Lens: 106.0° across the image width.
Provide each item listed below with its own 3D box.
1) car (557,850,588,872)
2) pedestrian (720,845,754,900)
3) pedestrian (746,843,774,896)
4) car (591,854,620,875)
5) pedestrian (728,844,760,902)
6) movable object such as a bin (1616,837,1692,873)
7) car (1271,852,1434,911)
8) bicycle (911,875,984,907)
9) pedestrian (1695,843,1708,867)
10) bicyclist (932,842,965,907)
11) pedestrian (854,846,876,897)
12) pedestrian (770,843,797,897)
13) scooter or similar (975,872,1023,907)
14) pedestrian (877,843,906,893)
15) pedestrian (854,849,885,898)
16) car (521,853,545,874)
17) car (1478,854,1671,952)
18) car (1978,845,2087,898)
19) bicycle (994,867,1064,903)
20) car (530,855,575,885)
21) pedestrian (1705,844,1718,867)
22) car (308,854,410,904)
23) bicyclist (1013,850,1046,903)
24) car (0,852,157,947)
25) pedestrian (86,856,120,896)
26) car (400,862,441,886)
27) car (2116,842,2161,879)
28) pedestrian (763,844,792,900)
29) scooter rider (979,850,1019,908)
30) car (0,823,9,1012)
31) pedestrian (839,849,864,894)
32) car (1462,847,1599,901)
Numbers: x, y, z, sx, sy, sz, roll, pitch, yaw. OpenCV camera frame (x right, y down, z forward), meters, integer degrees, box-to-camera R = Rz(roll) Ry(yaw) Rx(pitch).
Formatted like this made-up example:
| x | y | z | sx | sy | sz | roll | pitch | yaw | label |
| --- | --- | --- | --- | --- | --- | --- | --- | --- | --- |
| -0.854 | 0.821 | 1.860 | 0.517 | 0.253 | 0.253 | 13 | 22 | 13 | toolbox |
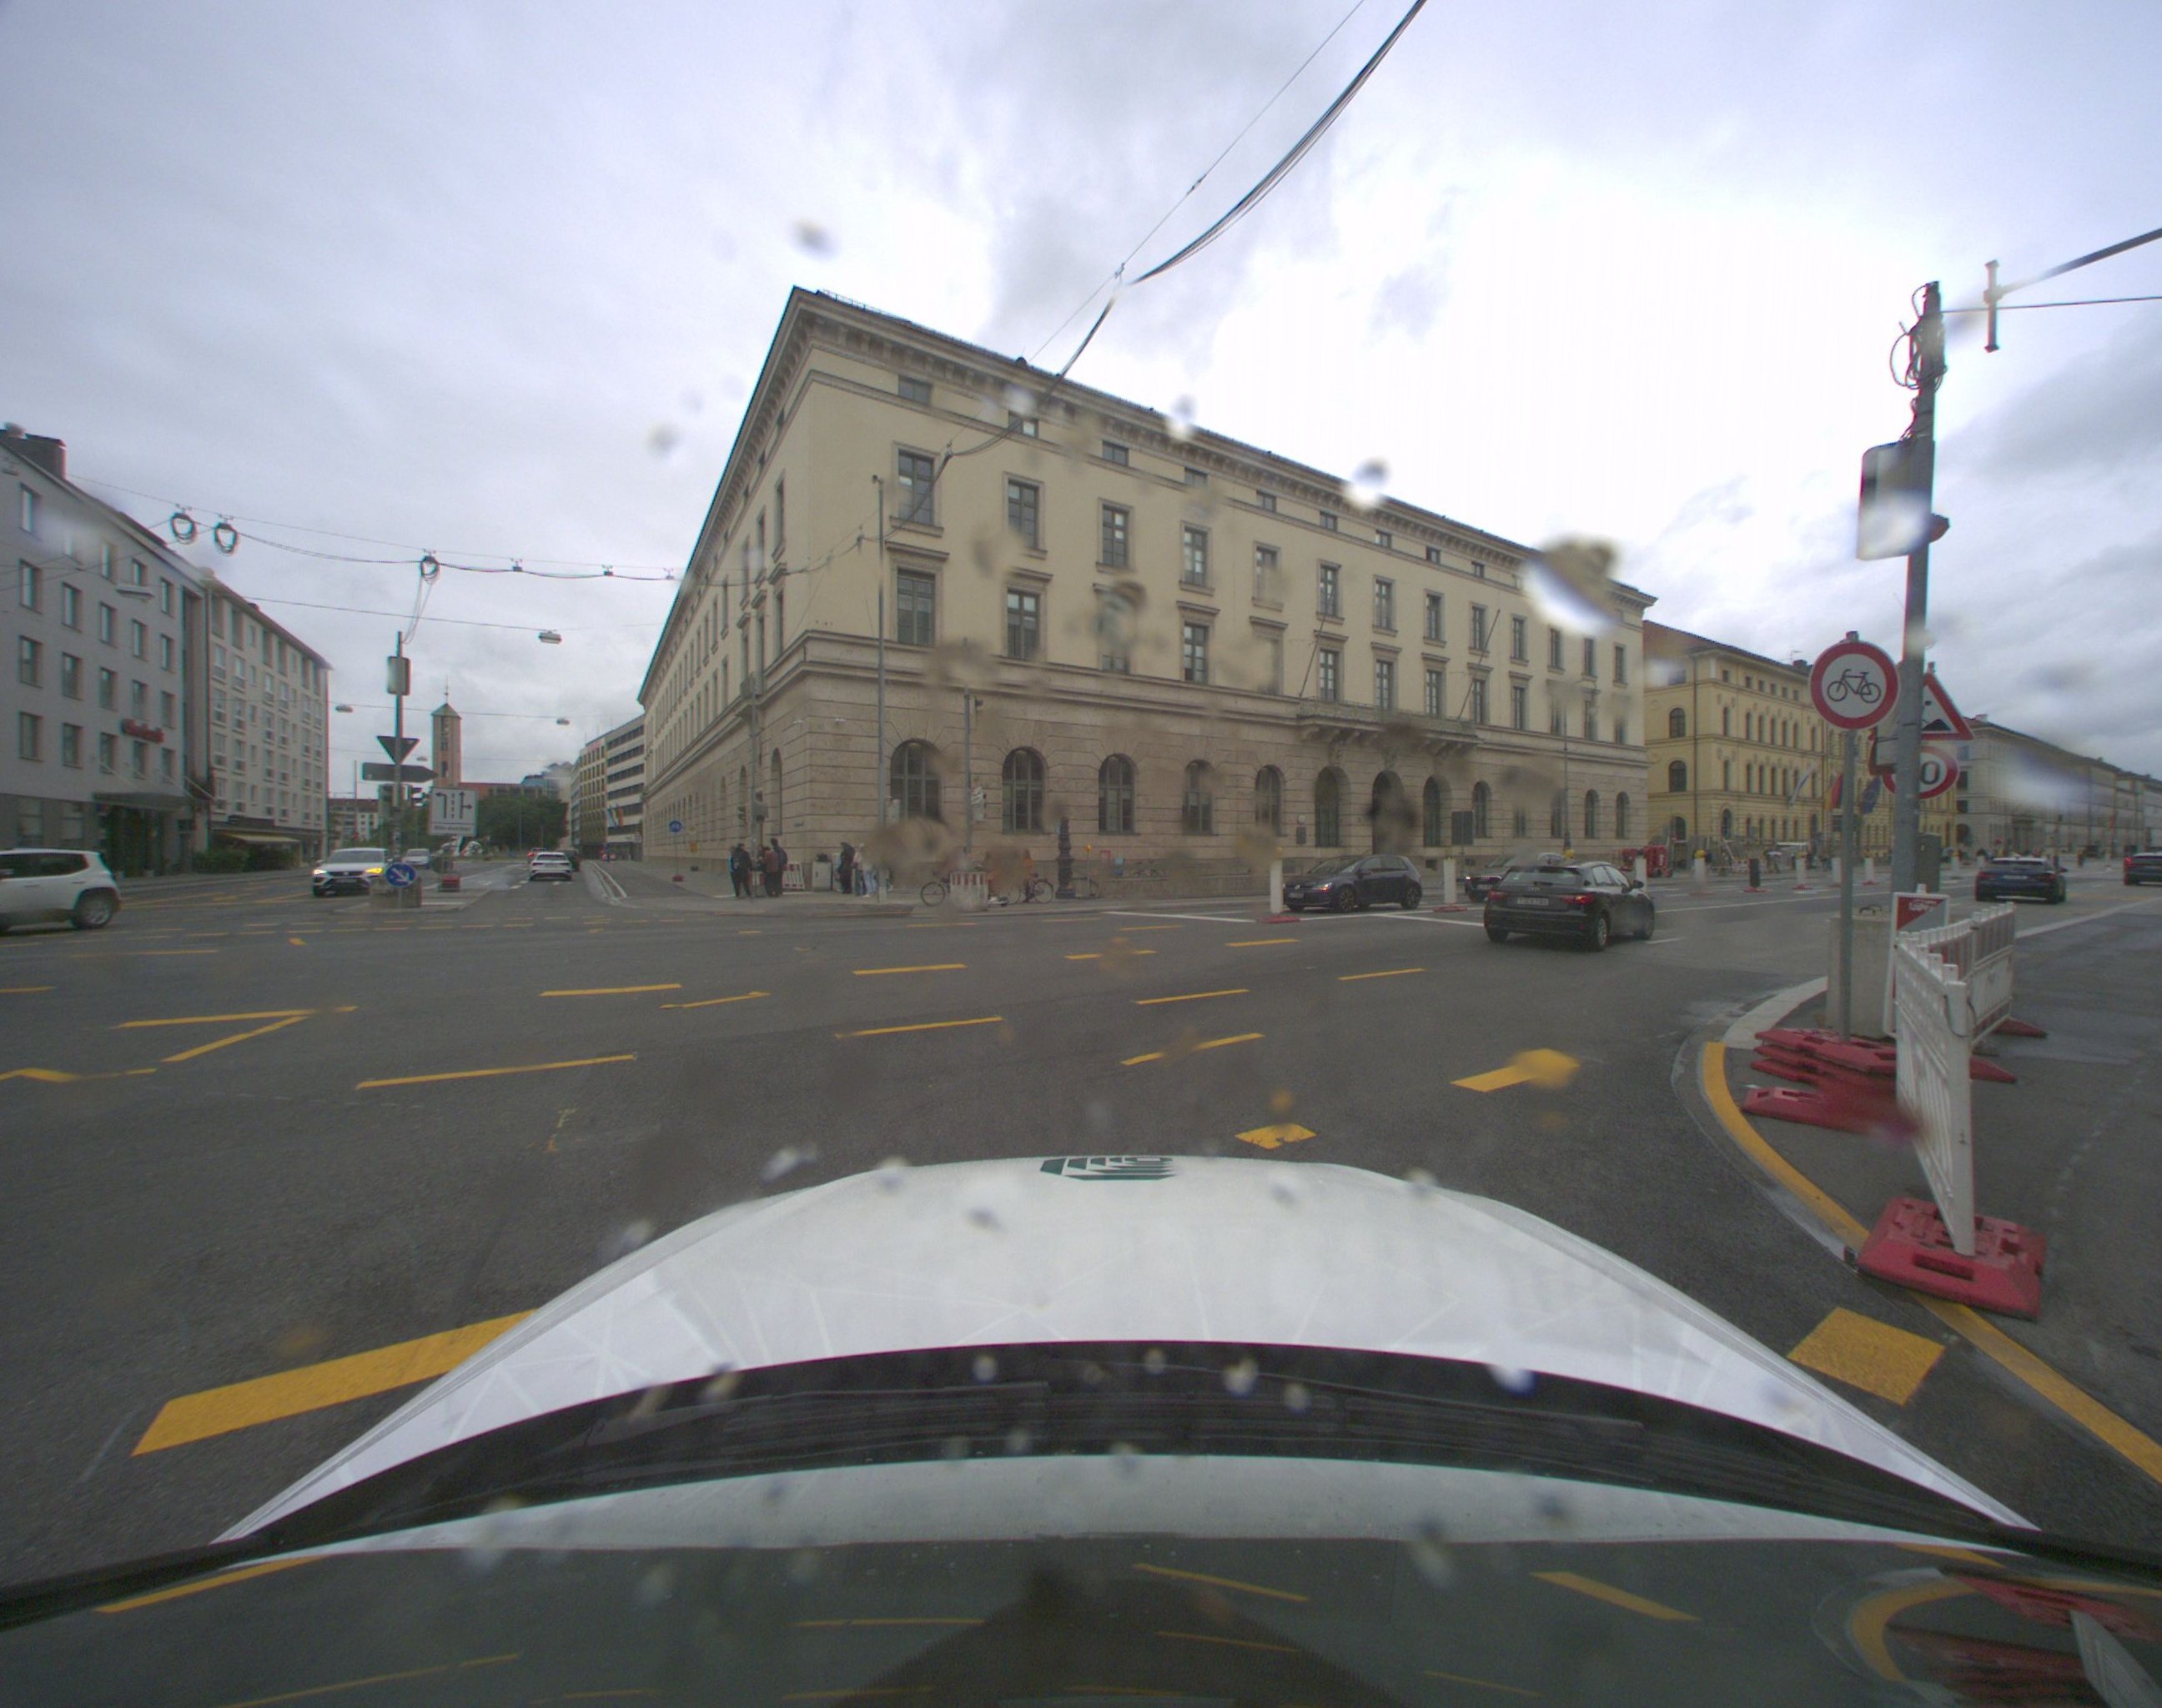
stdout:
| x | y | z | sx | sy | sz | roll | pitch | yaw | label |
| --- | --- | --- | --- | --- | --- | --- | --- | --- | --- |
| -37.064 | 0.482 | 59.354 | 1.878 | 1.601 | 3.811 | 0 | 0 | -33 | car |
| -11.274 | 0.604 | 26.707 | 0.578 | 1.755 | 0.825 | 1 | 0 | 27 | pedestrian |
| -10.862 | 0.524 | 27.600 | 0.819 | 1.755 | 0.582 | 1 | 0 | -18 | pedestrian |
| -38.434 | 0.805 | 65.768 | 1.878 | 1.601 | 3.811 | 0 | 0 | -33 | car |
| -10.511 | 0.589 | 25.445 | 0.819 | 1.755 | 0.676 | 1 | 0 | -16 | pedestrian |
| 34.435 | 0.092 | 48.865 | 5.995 | 2.014 | 1.501 | 1 | 0 | -32 | movable object such as a bin |
| 7.051 | 0.677 | 21.021 | 4.255 | 1.388 | 1.731 | 1 | -2 | -33 | car |
| -3.886 | 1.077 | 23.787 | 1.984 | 0.879 | 0.655 | 1 | 0 | -30 | bicycle |
| 44.244 | 0.073 | 58.056 | 0.620 | 1.676 | 0.548 | 1 | -1 | -35 | pedestrian |
| -3.871 | 0.586 | 23.795 | 0.748 | 1.842 | 0.654 | 1 | -1 | -30 | bicyclist |
| -7.121 | 0.567 | 26.834 | 0.619 | 1.672 | 0.537 | 1 | -1 | -25 | pedestrian |
| -9.871 | 0.519 | 27.041 | 0.582 | 1.755 | 0.819 | 1 | 0 | -1 | pedestrian |
| -2.340 | 1.007 | 23.292 | 1.218 | 0.965 | 0.582 | 1 | 0 | -31 | scooter or similar |
| -6.555 | 0.479 | 28.154 | 0.720 | 1.694 | 0.812 | 1 | -1 | -31 | pedestrian |
| -6.811 | 0.631 | 26.228 | 0.821 | 1.557 | 0.662 | 1 | 0 | -25 | pedestrian |
| -57.319 | 0.969 | 85.196 | 2.007 | 2.013 | 3.959 | 0 | 0 | -33 | car |
| 8.614 | 0.722 | 14.083 | 4.022 | 1.388 | 1.847 | 0 | 1 | -43 | car |
| 31.344 | 0.557 | 26.810 | 4.013 | 1.617 | 1.757 | 1 | 0 | -32 | car |
| -1.591 | 0.934 | 24.940 | 1.970 | 1.040 | 0.787 | 1 | 0 | -30 | bicycle |
| -27.027 | 0.804 | 41.651 | 1.826 | 1.425 | 4.406 | 1 | 0 | -33 | car |
| 44.575 | 0.097 | 57.578 | 0.620 | 1.652 | 0.607 | 1 | -1 | -35 | pedestrian |
| -24.825 | 0.790 | 28.169 | 2.007 | 1.524 | 4.189 | -1 | 1 | -33 | car |
| -1.583 | 0.677 | 24.949 | 0.748 | 1.615 | 0.788 | 1 | 0 | -30 | bicyclist |
| -20.246 | 0.813 | 15.068 | 1.792 | 1.677 | 4.222 | 0 | 1 | -7 | car |
| -44.291 | 1.003 | 36.890 | 0.742 | 1.772 | 0.728 | 1 | -1 | -33 | pedestrian |
| -51.451 | 1.545 | 63.545 | 2.007 | 1.735 | 4.189 | -1 | 1 | -33 | car |
| 52.466 | 0.304 | 39.764 | 4.014 | 1.772 | 1.980 | 0 | 0 | -32 | car |
| -9.771 | 0.566 | 26.237 | 0.582 | 1.755 | 0.819 | 1 | 0 | -1 | pedestrian |
| -2.344 | 0.706 | 23.289 | 0.938 | 1.622 | 0.587 | 1 | -1 | -31 | scooter rider |
| -12.368 | 0.594 | 7.632 | 4.528 | 1.734 | 2.013 | 0 | 0 | 27 | car |
| -7.795 | 0.586 | 27.683 | 0.668 | 1.527 | 0.813 | 1 | 0 | -25 | pedestrian |
| 14.118 | 0.596 | 25.523 | 4.593 | 1.567 | 1.773 | 0 | -2 | -33 | car |
